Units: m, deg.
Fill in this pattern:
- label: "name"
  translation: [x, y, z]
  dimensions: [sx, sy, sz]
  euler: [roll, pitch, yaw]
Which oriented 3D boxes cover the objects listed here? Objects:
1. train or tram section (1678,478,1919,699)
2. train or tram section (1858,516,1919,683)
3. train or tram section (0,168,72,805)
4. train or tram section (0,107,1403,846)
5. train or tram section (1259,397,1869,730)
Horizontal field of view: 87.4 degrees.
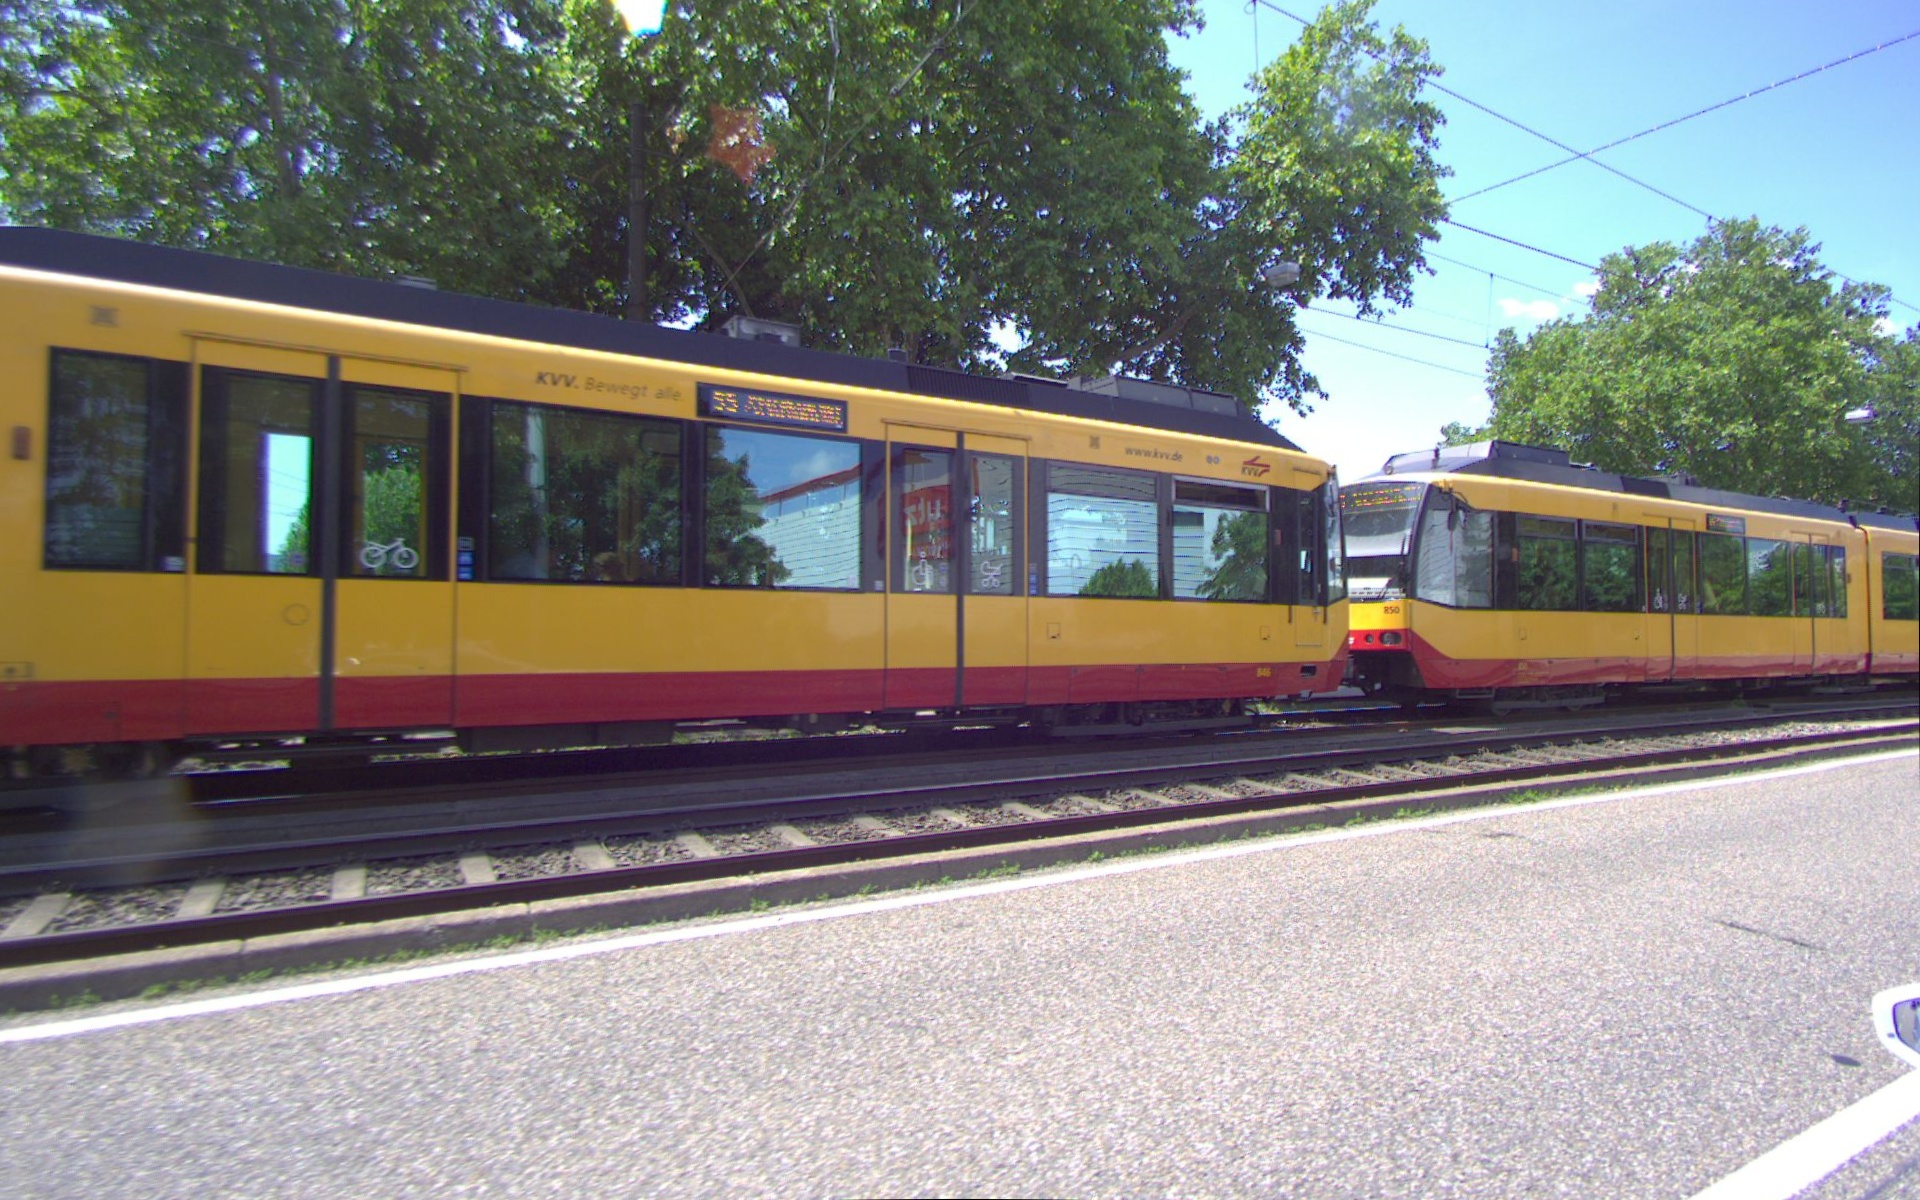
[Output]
- label: "train or tram section"
  translation: [20.671, -0.107, 22.916]
  dimensions: [10.110, 4.203, 3.024]
  euler: [1, -1, -30]
- label: "train or tram section"
  translation: [30.261, 0.126, 28.290]
  dimensions: [13.810, 4.196, 3.025]
  euler: [1, -1, -29]
- label: "train or tram section"
  translation: [-10.033, -0.818, 4.979]
  dimensions: [7.911, 4.324, 3.033]
  euler: [1, 0, -31]
- label: "train or tram section"
  translation: [-1.314, -0.614, 10.150]
  dimensions: [13.870, 4.324, 3.034]
  euler: [1, 0, -30]
- label: "train or tram section"
  translation: [11.067, -0.322, 17.358]
  dimensions: [13.323, 4.210, 3.023]
  euler: [1, -1, -30]
